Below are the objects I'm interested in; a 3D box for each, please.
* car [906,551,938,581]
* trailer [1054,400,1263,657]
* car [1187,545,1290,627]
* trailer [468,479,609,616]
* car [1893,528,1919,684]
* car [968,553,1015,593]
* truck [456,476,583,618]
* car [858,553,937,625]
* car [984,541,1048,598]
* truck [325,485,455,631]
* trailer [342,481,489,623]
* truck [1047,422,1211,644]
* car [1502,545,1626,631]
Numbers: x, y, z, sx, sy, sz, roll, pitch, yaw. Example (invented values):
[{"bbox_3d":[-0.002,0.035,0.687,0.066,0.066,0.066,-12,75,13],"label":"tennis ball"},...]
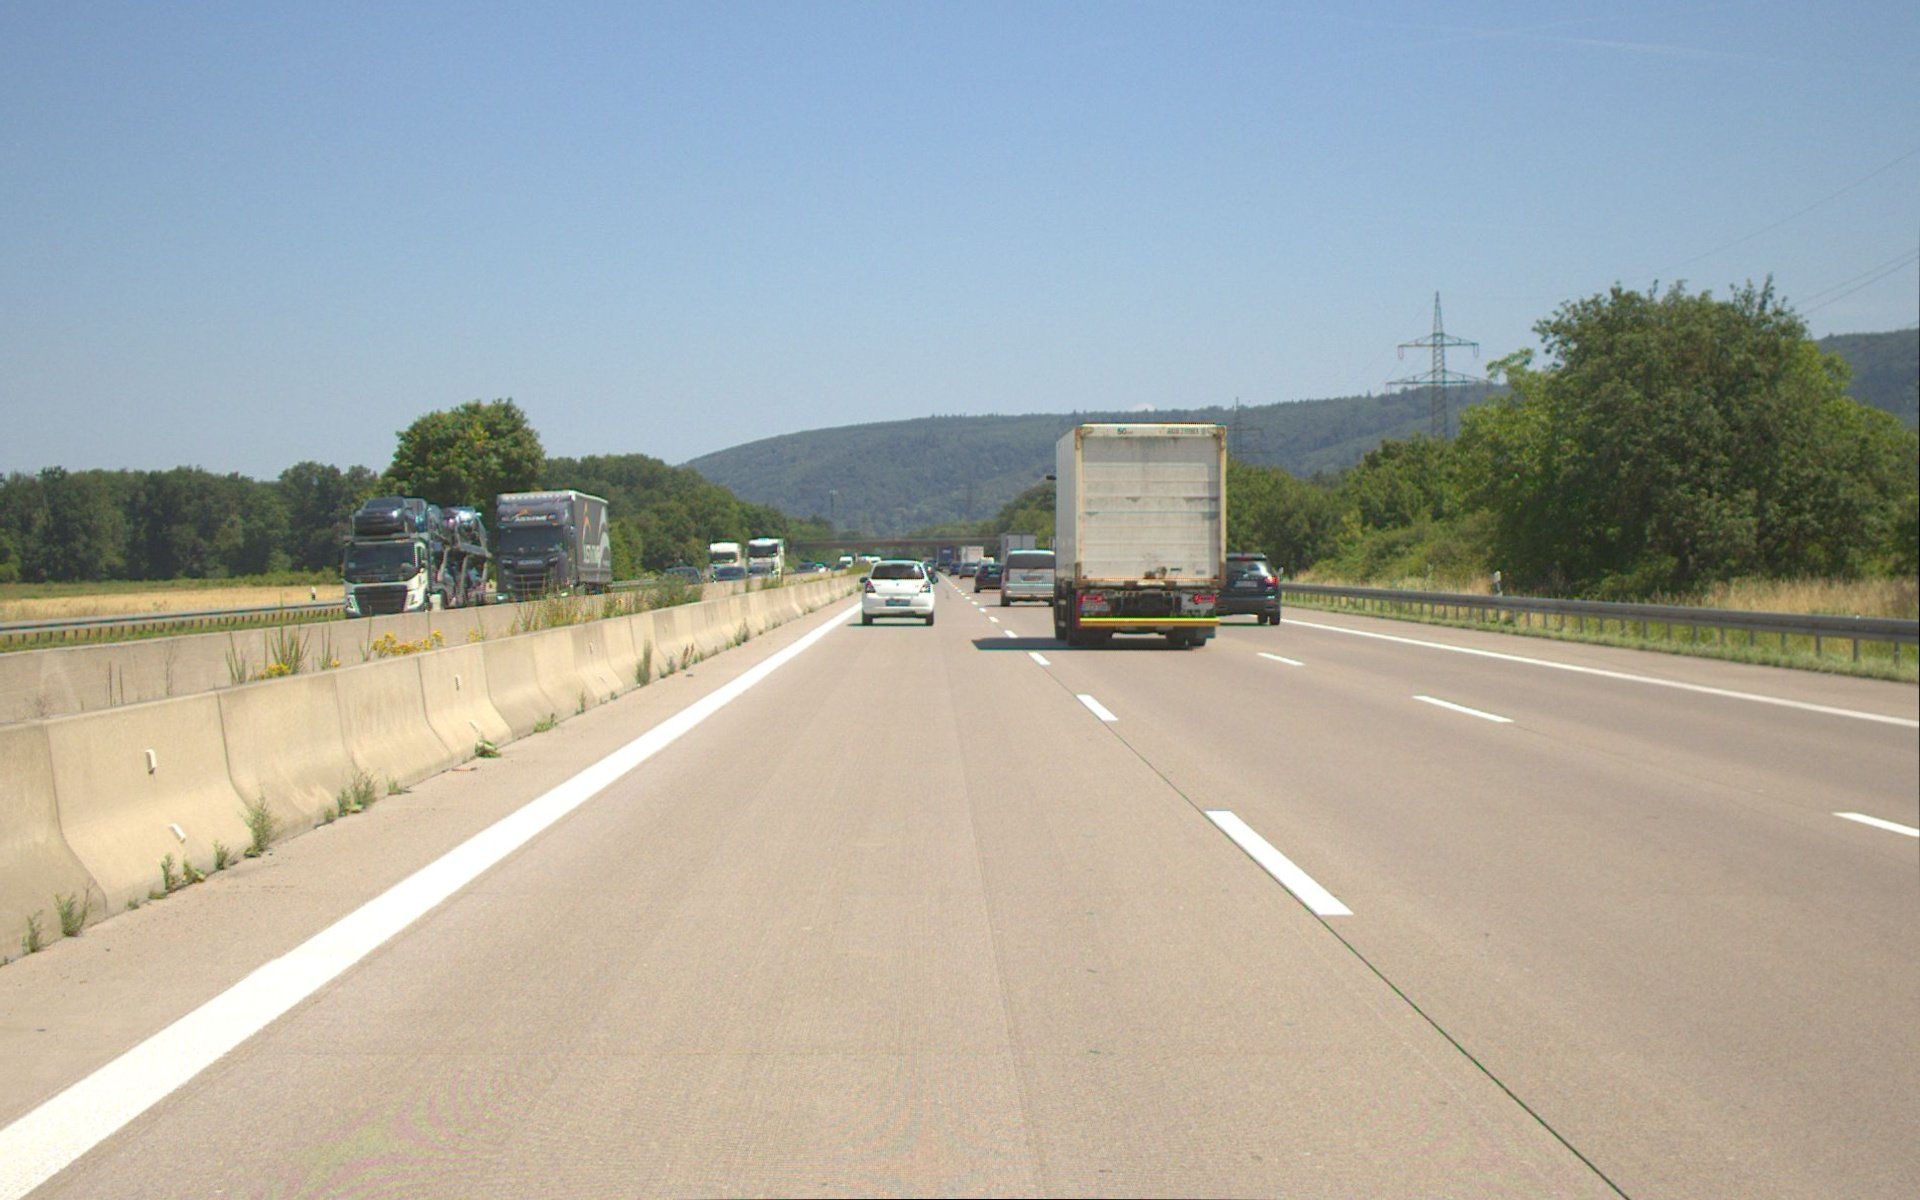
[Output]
[{"bbox_3d":[-2.499,-2.236,227.076,1.993,1.842,4.000,2,1,-1],"label":"car"},{"bbox_3d":[3.158,-1.146,57.396,2.580,3.864,10.374,1,1,-1],"label":"trailer"},{"bbox_3d":[6.678,-0.348,82.716,1.993,1.842,4.000,2,1,-1],"label":"car"},{"bbox_3d":[-14.685,-1.832,121.069,3.267,4.460,14.452,-1,1,-1],"label":"trailer"},{"bbox_3d":[12.311,0.123,39.408,1.993,1.842,4.000,2,1,-1],"label":"car"},{"bbox_3d":[1.512,-1.325,167.620,1.993,1.842,4.000,2,1,-2],"label":"car"},{"bbox_3d":[-14.511,-1.745,113.765,3.267,4.460,7.190,-1,1,-1],"label":"truck"},{"bbox_3d":[-1.491,-0.271,81.259,1.819,1.656,4.000,0,1,-2],"label":"car"},{"bbox_3d":[1.868,-1.026,115.595,1.993,1.842,4.000,1,1,-1],"label":"car"},{"bbox_3d":[-18.538,-1.368,112.129,3.231,4.591,6.251,1,1,-1],"label":"truck"},{"bbox_3d":[-18.635,-1.634,118.454,3.231,4.591,12.294,1,1,-1],"label":"trailer"},{"bbox_3d":[3.040,-1.211,63.006,2.580,3.864,4.984,1,1,-1],"label":"truck"},{"bbox_3d":[13.886,-0.299,79.252,1.993,1.842,4.000,2,1,-1],"label":"car"}]
